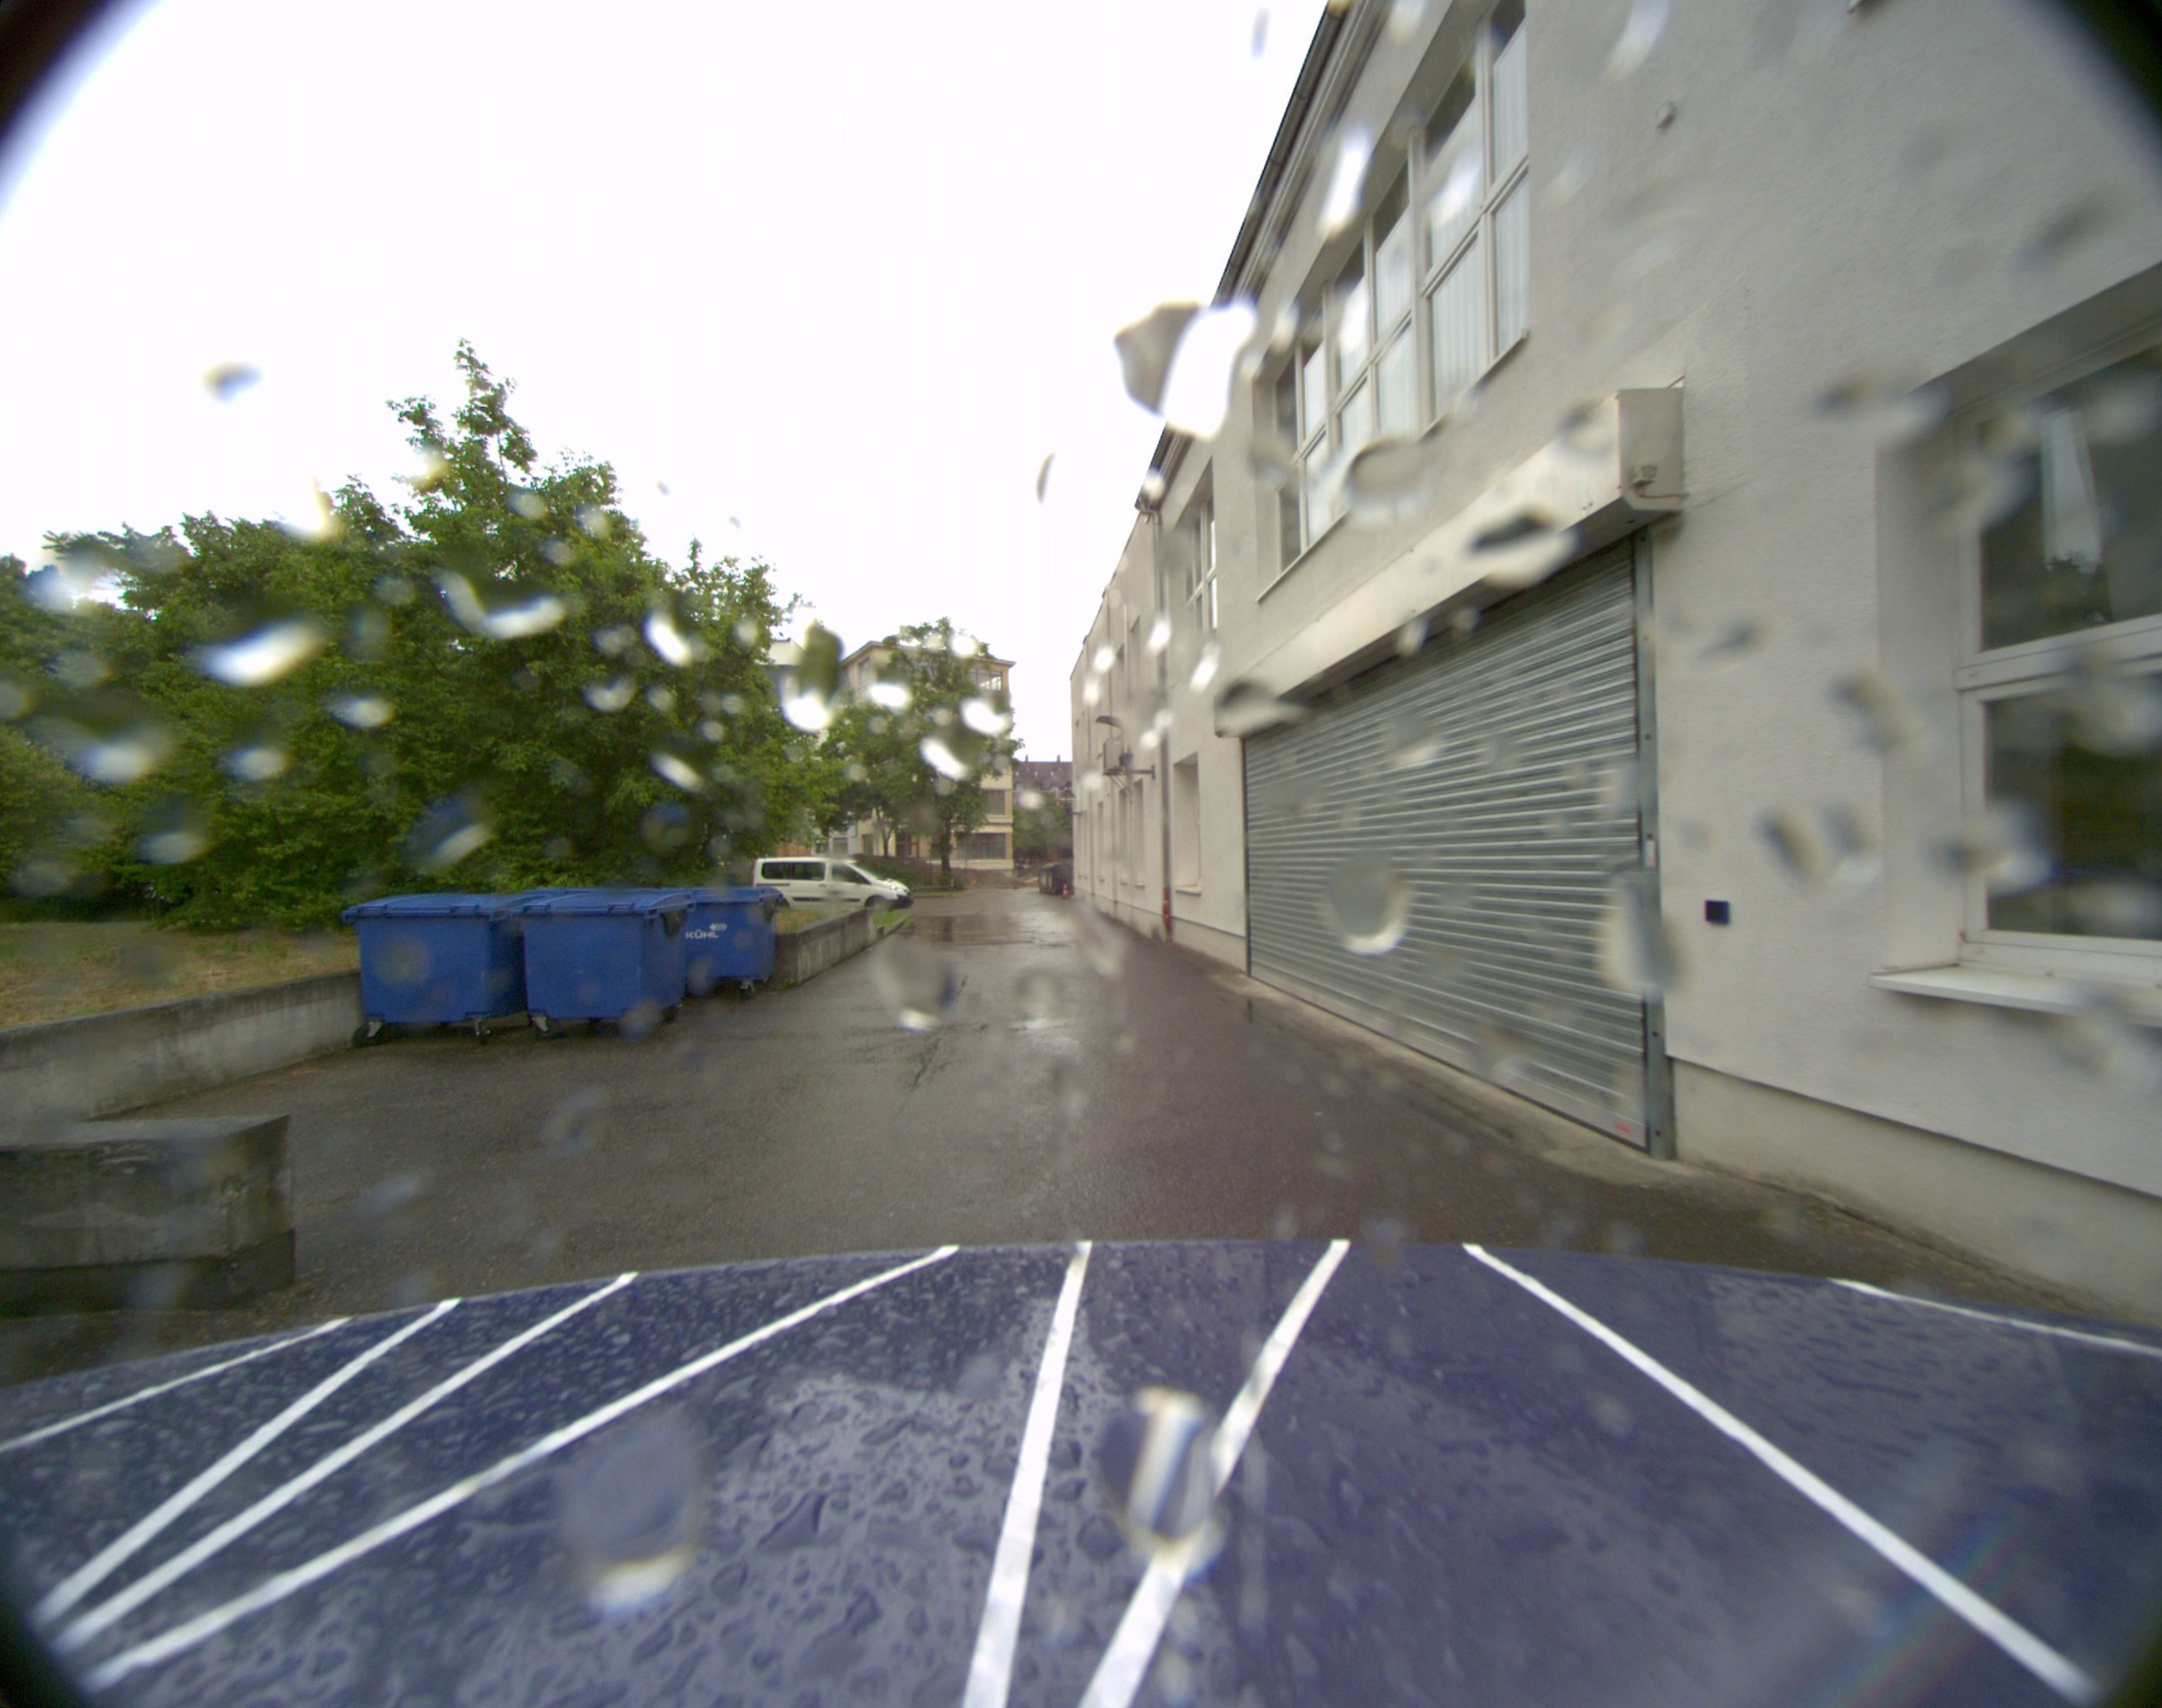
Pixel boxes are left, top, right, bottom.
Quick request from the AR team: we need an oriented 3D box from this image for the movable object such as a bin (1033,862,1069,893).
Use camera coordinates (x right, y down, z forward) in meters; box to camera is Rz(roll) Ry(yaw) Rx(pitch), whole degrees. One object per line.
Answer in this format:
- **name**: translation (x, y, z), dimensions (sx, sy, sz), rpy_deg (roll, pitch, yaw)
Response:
- **movable object such as a bin**: translation (-1.491, 1.145, 37.102), dimensions (1.493, 1.439, 1.313), rpy_deg (-2, -2, -12)

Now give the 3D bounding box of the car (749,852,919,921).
- **car**: translation (-7.699, 1.031, 24.131), dimensions (4.696, 1.870, 2.123), rpy_deg (-3, -3, -5)

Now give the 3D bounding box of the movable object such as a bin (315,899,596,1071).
- **movable object such as a bin**: translation (-5.955, 1.169, 7.463), dimensions (1.233, 1.349, 1.970), rpy_deg (-2, -2, -7)

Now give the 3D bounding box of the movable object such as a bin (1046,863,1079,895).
- **movable object such as a bin**: translation (-0.841, 1.123, 34.302), dimensions (1.188, 1.365, 1.313), rpy_deg (-2, -2, -12)

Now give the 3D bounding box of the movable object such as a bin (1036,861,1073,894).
- **movable object such as a bin**: translation (-1.241, 1.120, 35.777), dimensions (1.493, 1.439, 1.313), rpy_deg (-2, -2, -12)

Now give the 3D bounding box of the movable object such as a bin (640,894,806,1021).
- **movable object such as a bin**: translation (-4.406, 1.218, 9.583), dimensions (1.313, 1.349, 1.904), rpy_deg (-2, -2, -7)

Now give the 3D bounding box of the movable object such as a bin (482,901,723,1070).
- **movable object such as a bin**: translation (-4.641, 1.205, 7.626), dimensions (1.313, 1.349, 1.904), rpy_deg (-2, -2, -7)
